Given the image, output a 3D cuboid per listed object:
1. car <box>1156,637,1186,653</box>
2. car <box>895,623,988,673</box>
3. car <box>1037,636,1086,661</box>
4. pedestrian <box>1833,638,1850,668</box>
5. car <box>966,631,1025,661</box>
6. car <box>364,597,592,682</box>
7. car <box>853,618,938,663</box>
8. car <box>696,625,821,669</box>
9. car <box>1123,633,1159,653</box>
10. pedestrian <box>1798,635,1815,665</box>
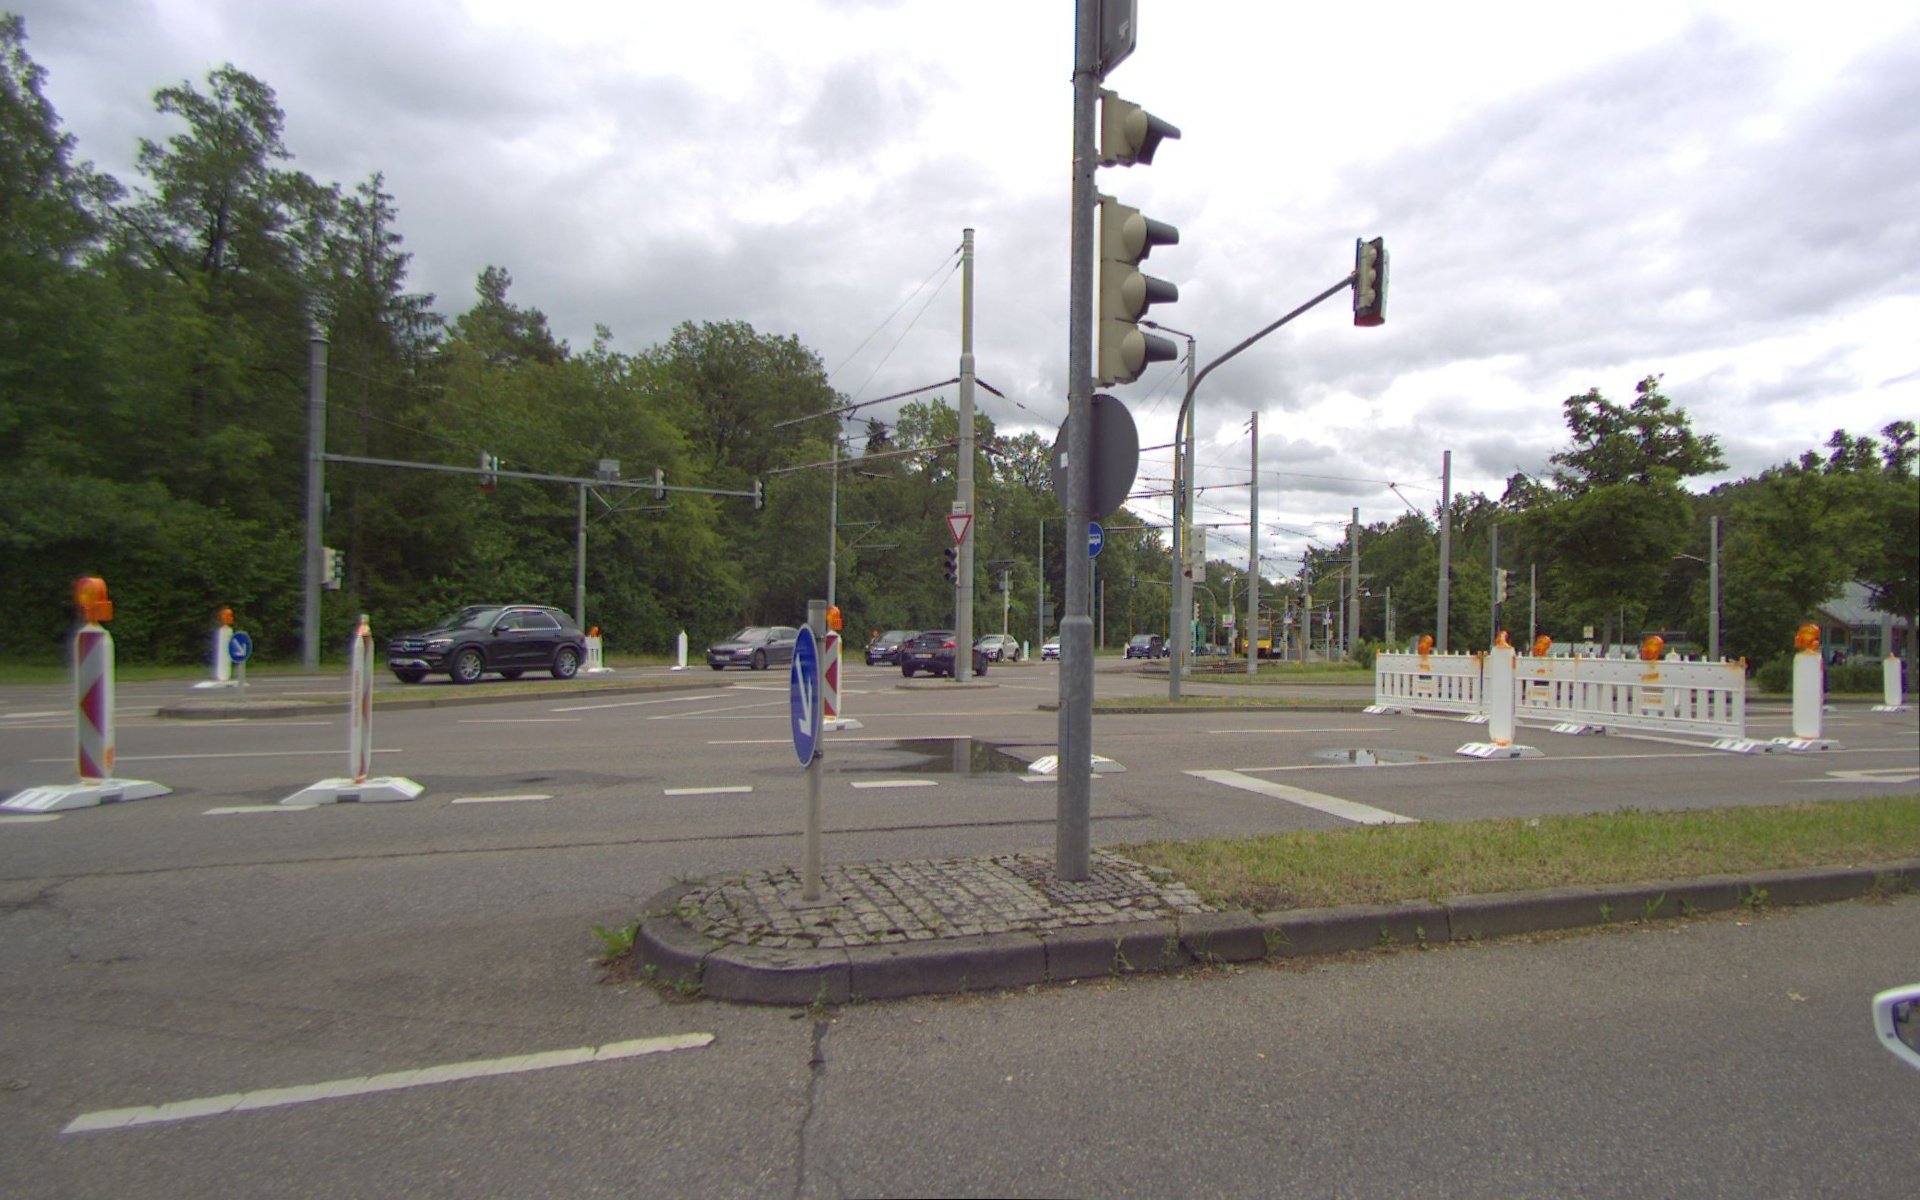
[{"bbox_3d":[19.521,4.161,92.717,1.930,1.379,4.309,0,-2,23],"label":"car"},{"bbox_3d":[-0.484,1.395,29.756,1.744,1.379,3.478,0,-2,18],"label":"car"},{"bbox_3d":[6.665,3.144,65.624,1.930,1.561,4.394,0,-2,23],"label":"car"},{"bbox_3d":[48.447,2.919,55.194,0.482,1.647,0.562,1,-1,14],"label":"pedestrian"},{"bbox_3d":[2.068,2.588,57.176,1.930,1.628,4.309,0,-2,23],"label":"car"},{"bbox_3d":[-11.108,0.899,23.602,1.929,1.773,4.846,0,-2,20],"label":"car"},{"bbox_3d":[-2.841,1.809,45.330,1.930,1.869,4.688,0,-2,23],"label":"car"},{"bbox_3d":[-6.864,1.590,34.827,1.930,1.379,4.688,0,-2,23],"label":"car"},{"bbox_3d":[14.525,3.434,80.342,1.930,1.560,4.309,0,-2,23],"label":"car"},{"bbox_3d":[46.420,2.748,55.074,0.482,1.647,0.562,1,-1,14],"label":"pedestrian"}]
